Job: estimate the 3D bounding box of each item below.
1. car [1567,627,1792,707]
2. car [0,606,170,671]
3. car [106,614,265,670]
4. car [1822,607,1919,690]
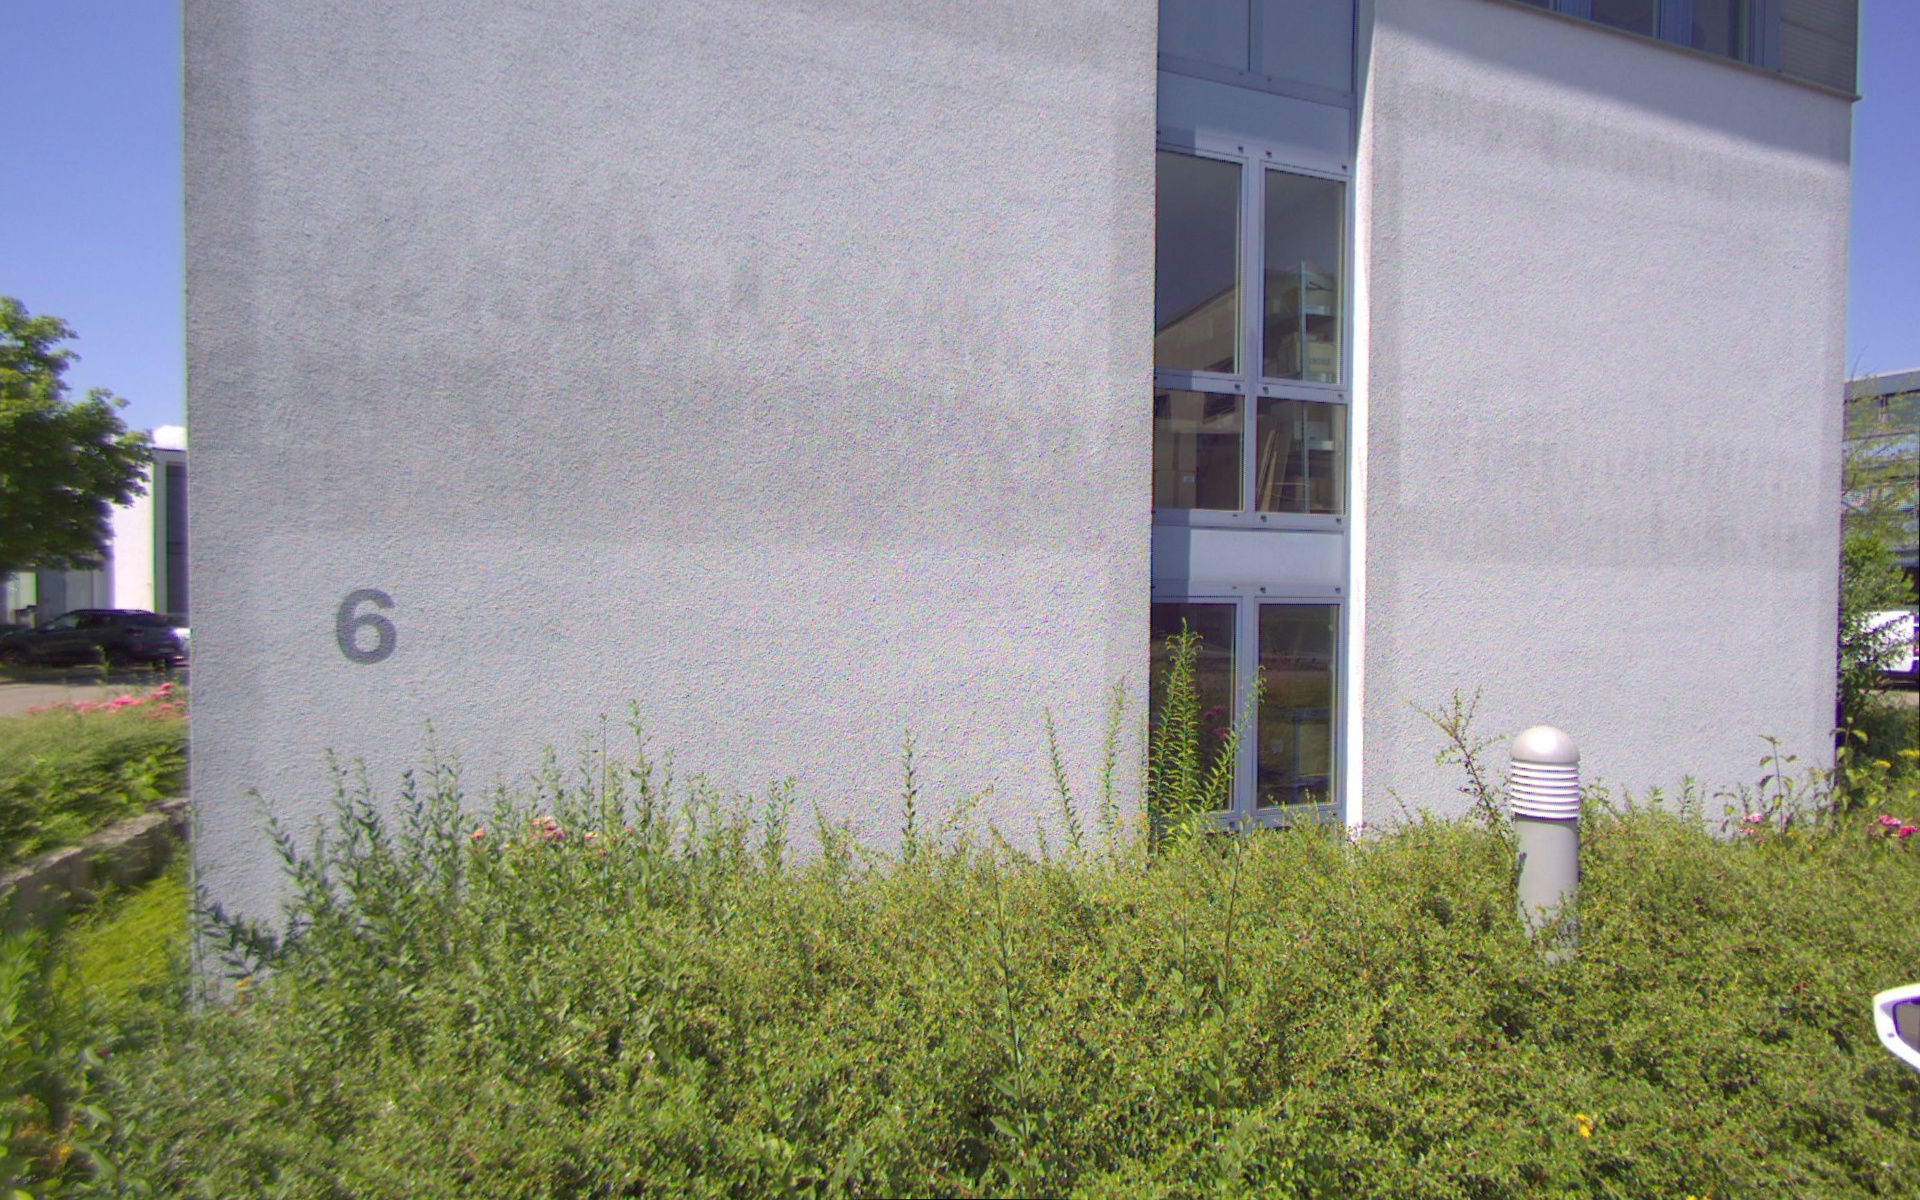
[{"bbox_3d":[15.094,1.343,21.057,4.420,1.492,1.852,0,0,-24],"label":"car"},{"bbox_3d":[-21.573,0.935,24.700,2.942,1.443,1.549,2,-1,-4],"label":"car"},{"bbox_3d":[-20.879,1.110,27.176,3.030,1.443,1.549,1,-1,-4],"label":"car"},{"bbox_3d":[24.060,1.138,25.102,4.732,1.916,1.878,0,0,-22],"label":"car"}]
